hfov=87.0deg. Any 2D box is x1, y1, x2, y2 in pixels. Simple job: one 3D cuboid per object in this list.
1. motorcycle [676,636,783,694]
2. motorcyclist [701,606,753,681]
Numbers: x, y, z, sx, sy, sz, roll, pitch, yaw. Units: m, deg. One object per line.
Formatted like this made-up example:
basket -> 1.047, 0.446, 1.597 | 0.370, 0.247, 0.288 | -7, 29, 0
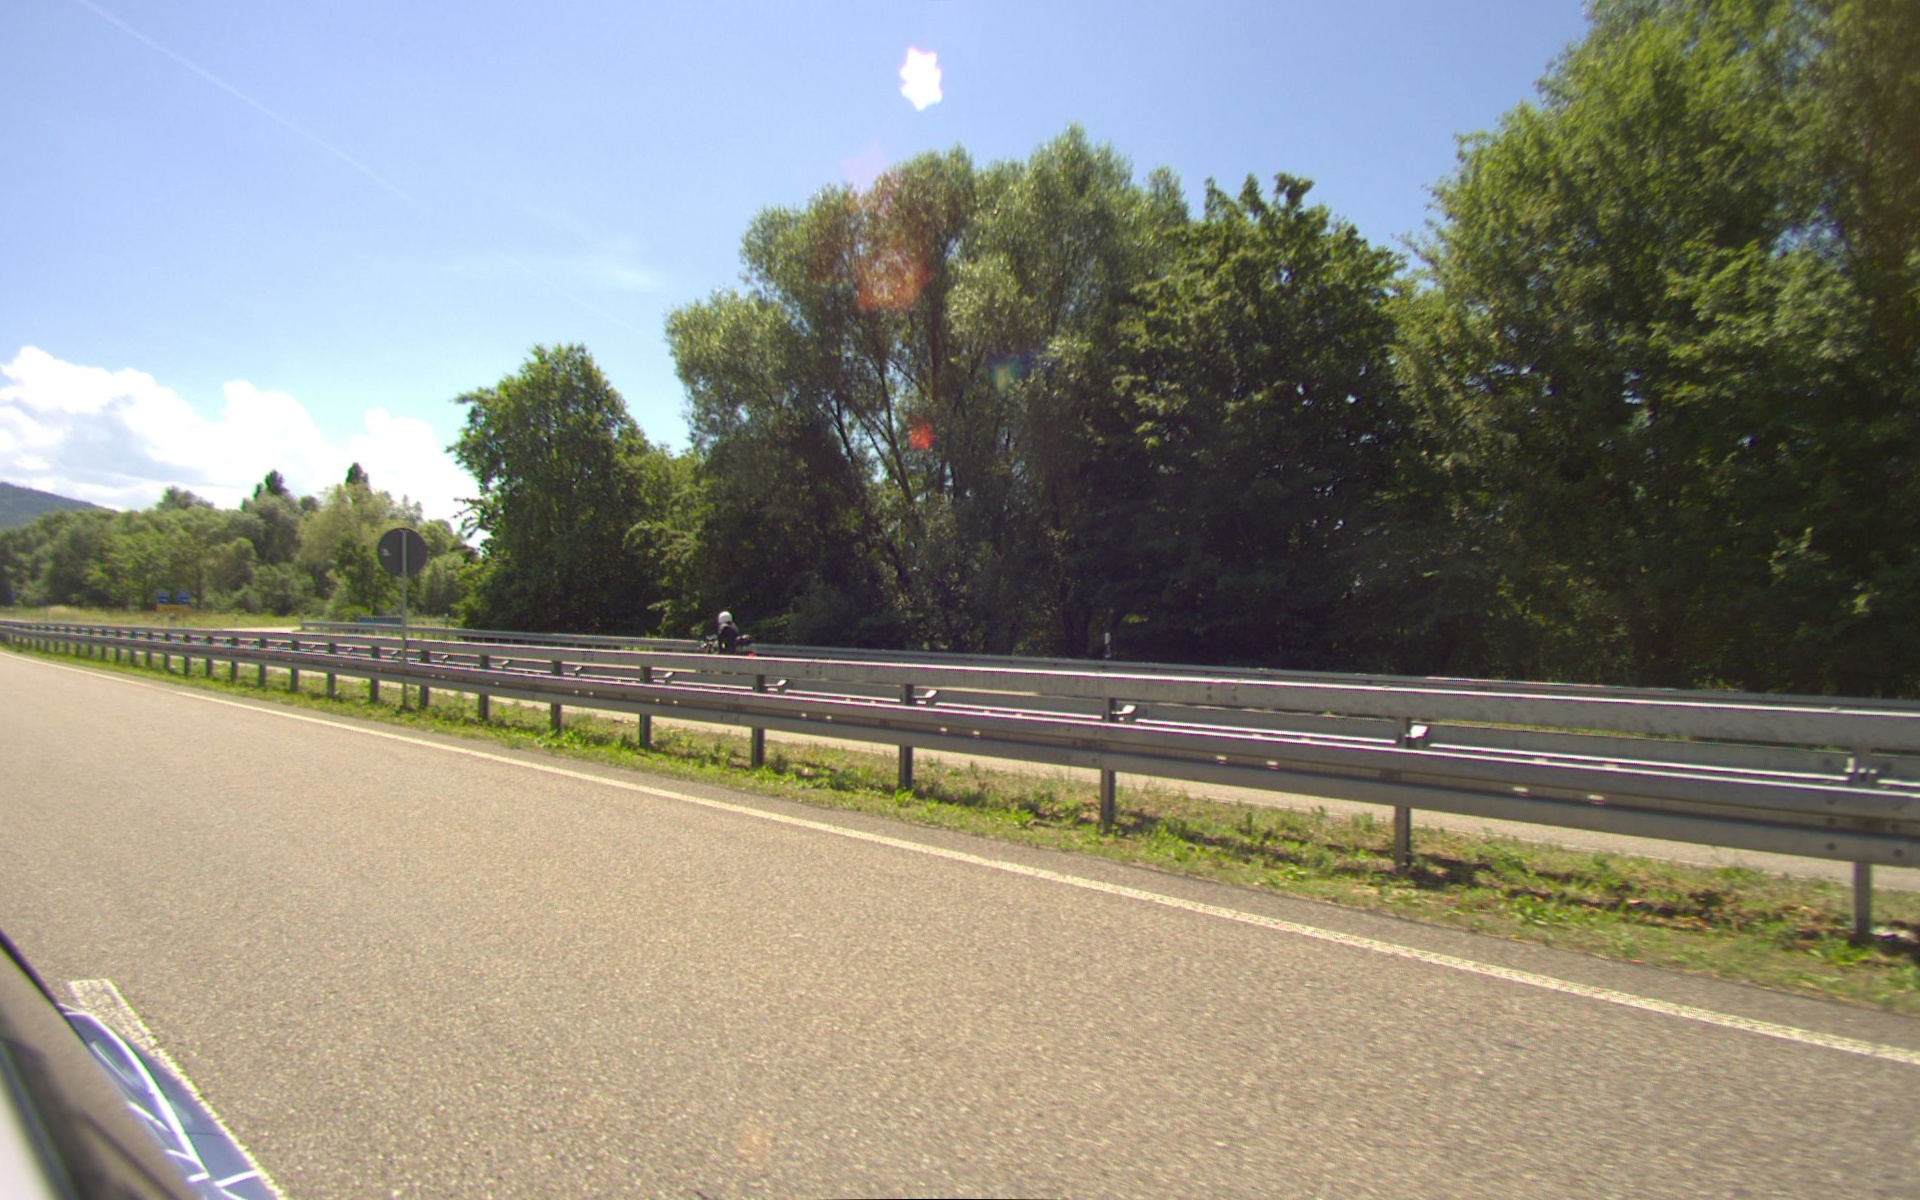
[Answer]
motorcycle -> -4.760, 1.304, 20.742 | 2.665, 1.072, 0.719 | -1, -1, 41
motorcyclist -> -4.792, 0.879, 20.785 | 0.809, 1.493, 0.710 | -1, -1, 42
